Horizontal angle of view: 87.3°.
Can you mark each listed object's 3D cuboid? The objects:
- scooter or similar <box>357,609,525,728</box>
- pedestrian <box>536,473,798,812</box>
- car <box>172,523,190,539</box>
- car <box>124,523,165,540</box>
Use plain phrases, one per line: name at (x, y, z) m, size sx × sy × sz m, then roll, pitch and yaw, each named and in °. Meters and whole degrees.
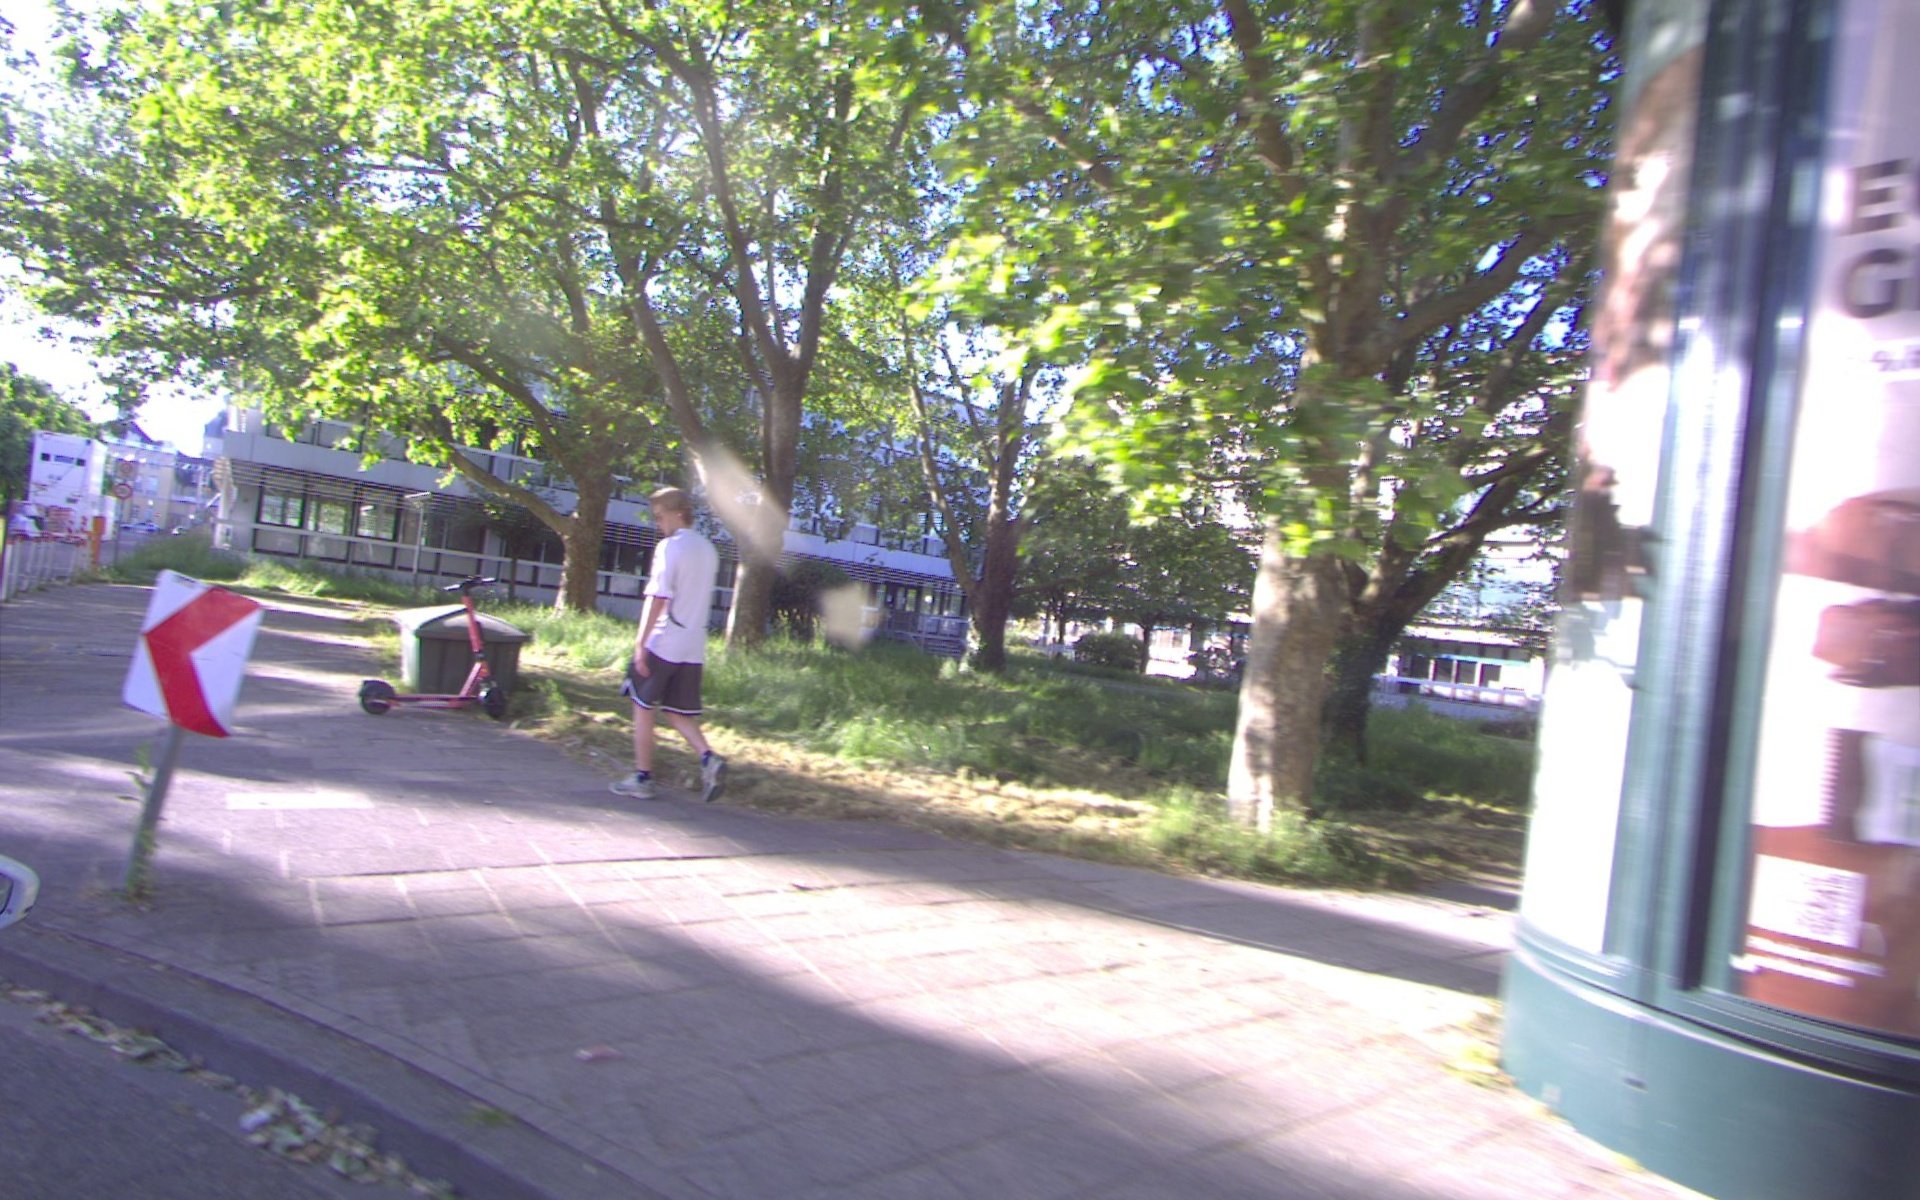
scooter or similar at (-4.375, 0.588, 8.522) m, size 1.143 × 0.925 × 0.414 m, roll 6°, pitch -1°, yaw -44°
pedestrian at (-1.777, 0.235, 6.114) m, size 1.115 × 1.833 × 0.746 m, roll 7°, pitch -1°, yaw 32°
car at (-87.813, -7.787, 113.424) m, size 1.447 × 1.517 × 3.960 m, roll 7°, pitch -1°, yaw -37°
car at (-122.286, -10.245, 150.853) m, size 4.537 × 1.811 × 1.980 m, roll 9°, pitch -2°, yaw -38°
